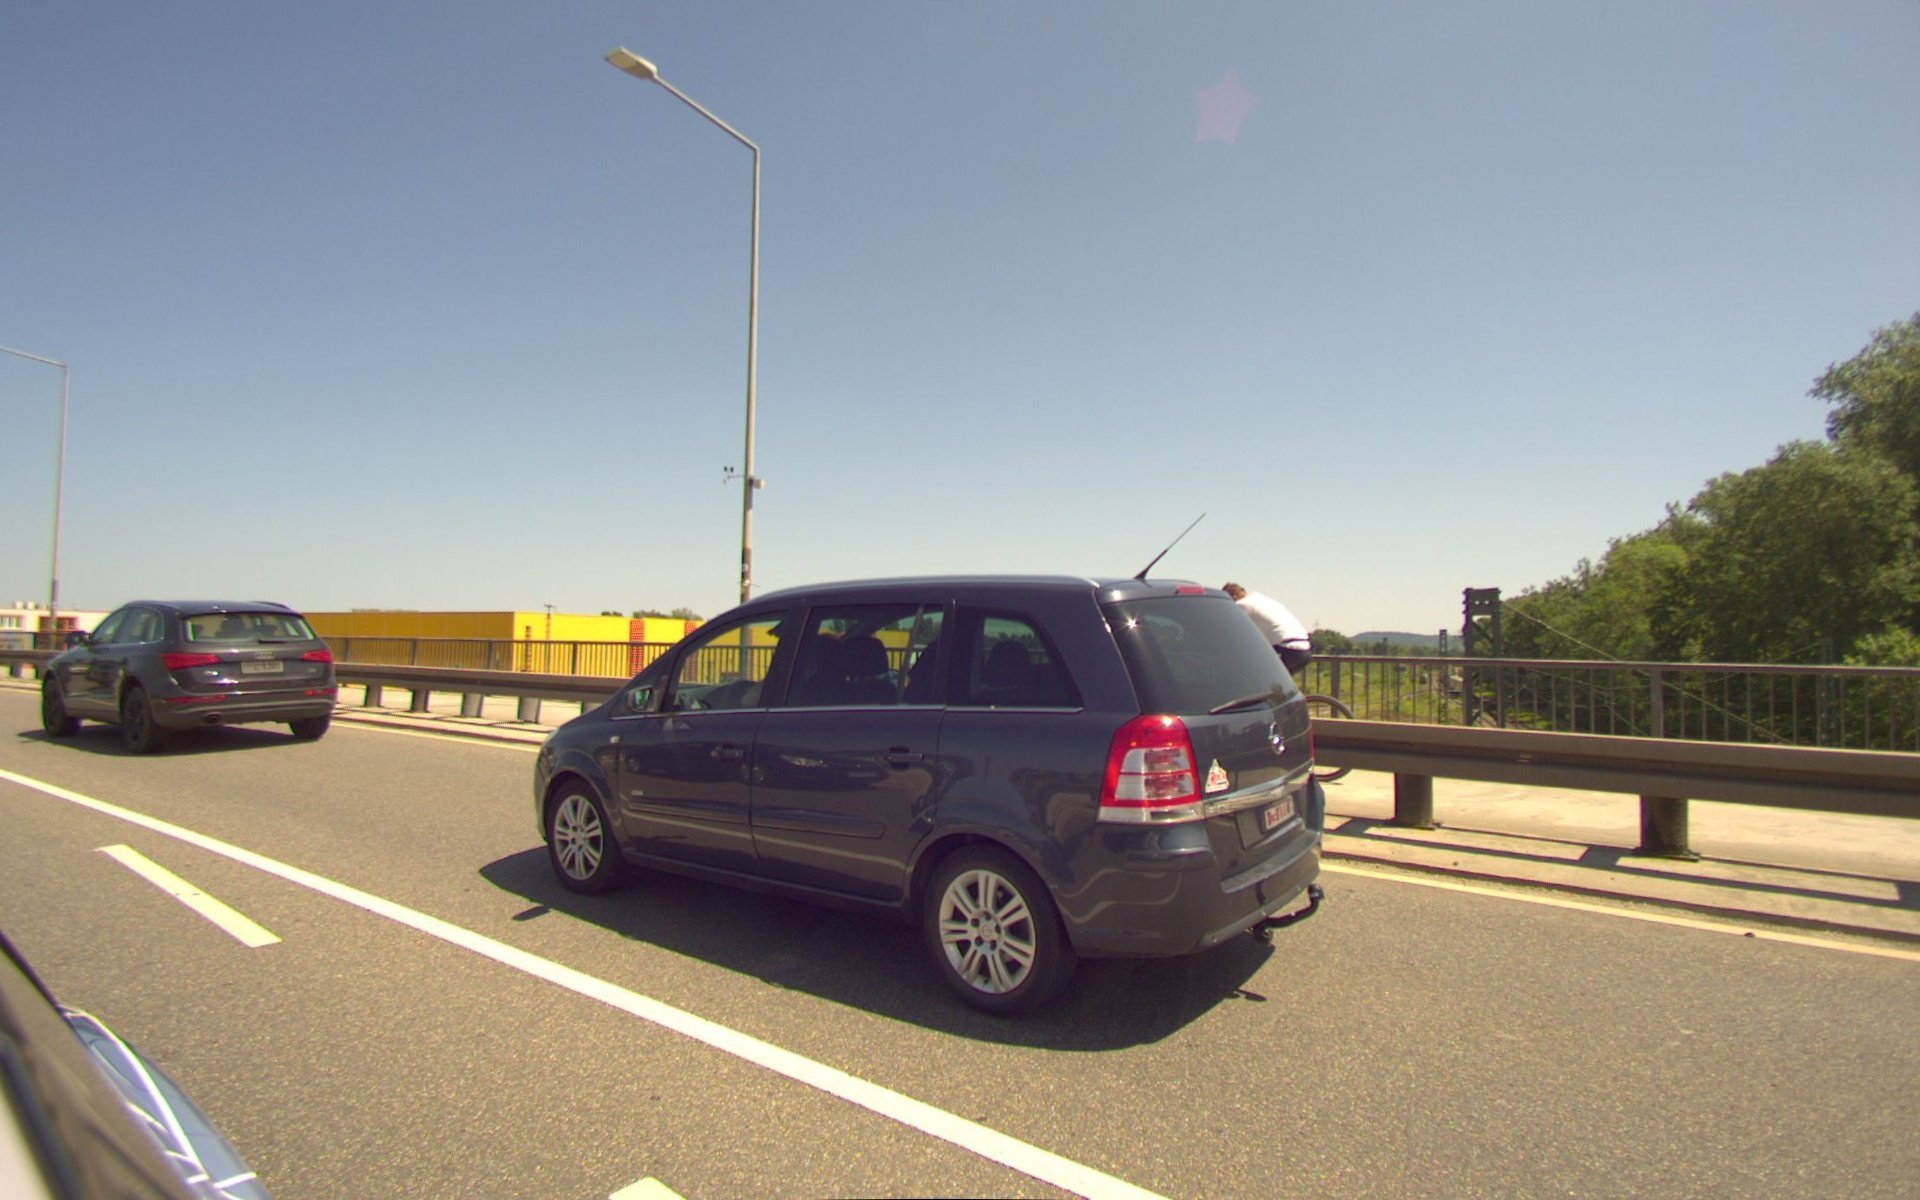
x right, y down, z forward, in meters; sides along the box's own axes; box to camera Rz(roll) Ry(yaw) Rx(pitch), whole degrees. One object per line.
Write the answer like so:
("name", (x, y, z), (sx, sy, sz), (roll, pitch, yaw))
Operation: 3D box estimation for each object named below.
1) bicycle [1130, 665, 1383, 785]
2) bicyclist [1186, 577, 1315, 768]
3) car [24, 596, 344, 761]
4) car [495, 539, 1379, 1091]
("bicycle", (2.466, 1.012, 8.596), (1.989, 0.840, 0.582), (-1, -1, 40))
("bicyclist", (2.465, 0.589, 8.606), (0.895, 1.533, 0.577), (-1, -2, 40))
("car", (-9.364, 0.827, 12.117), (4.289, 1.653, 1.786), (-1, -1, 34))
("car", (-0.386, 0.686, 4.993), (4.246, 1.639, 1.691), (-1, -2, 37))
